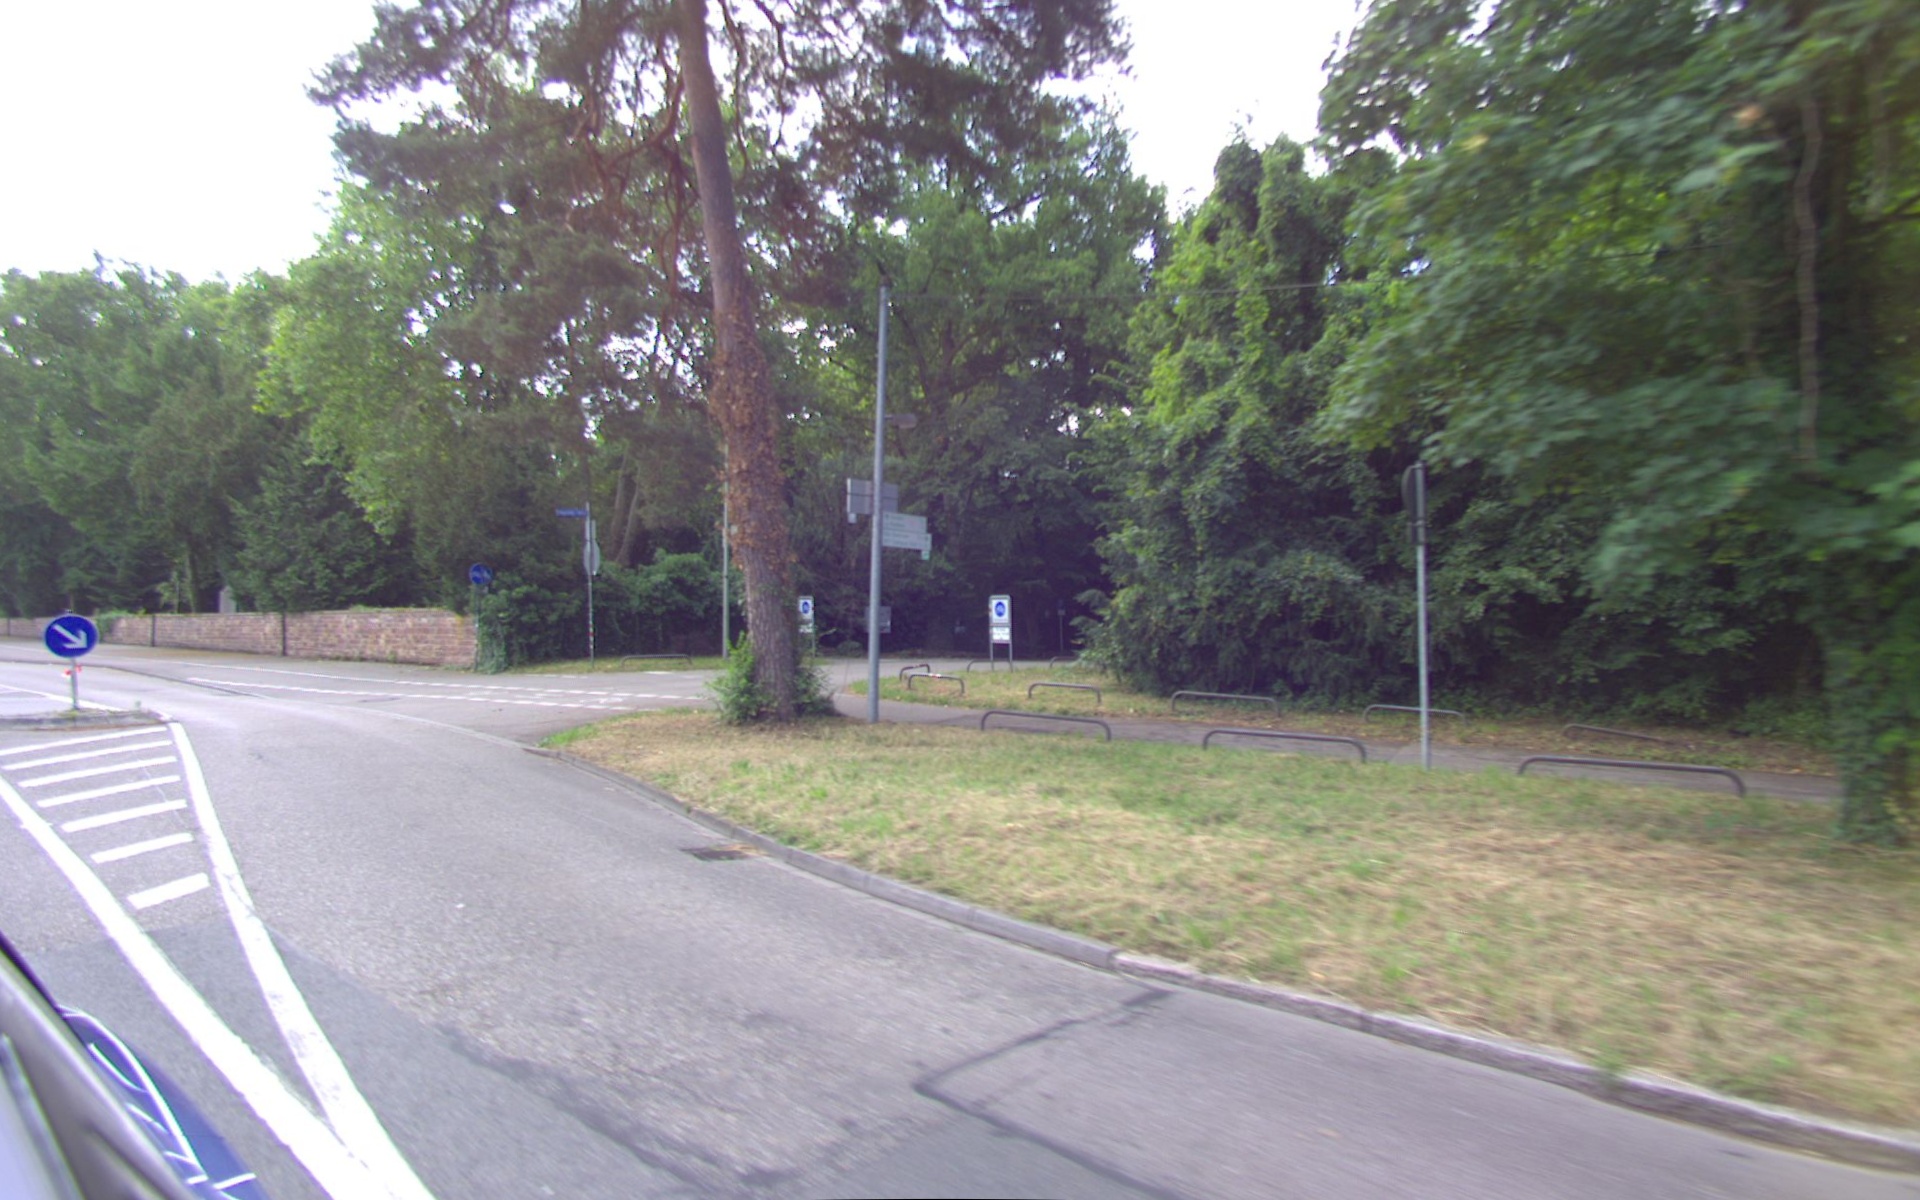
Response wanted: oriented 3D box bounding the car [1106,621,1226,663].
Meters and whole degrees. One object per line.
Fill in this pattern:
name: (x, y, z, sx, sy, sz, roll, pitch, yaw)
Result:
car: (8.325, 1.696, 41.145, 1.902, 1.553, 4.524, 3, -3, -43)
